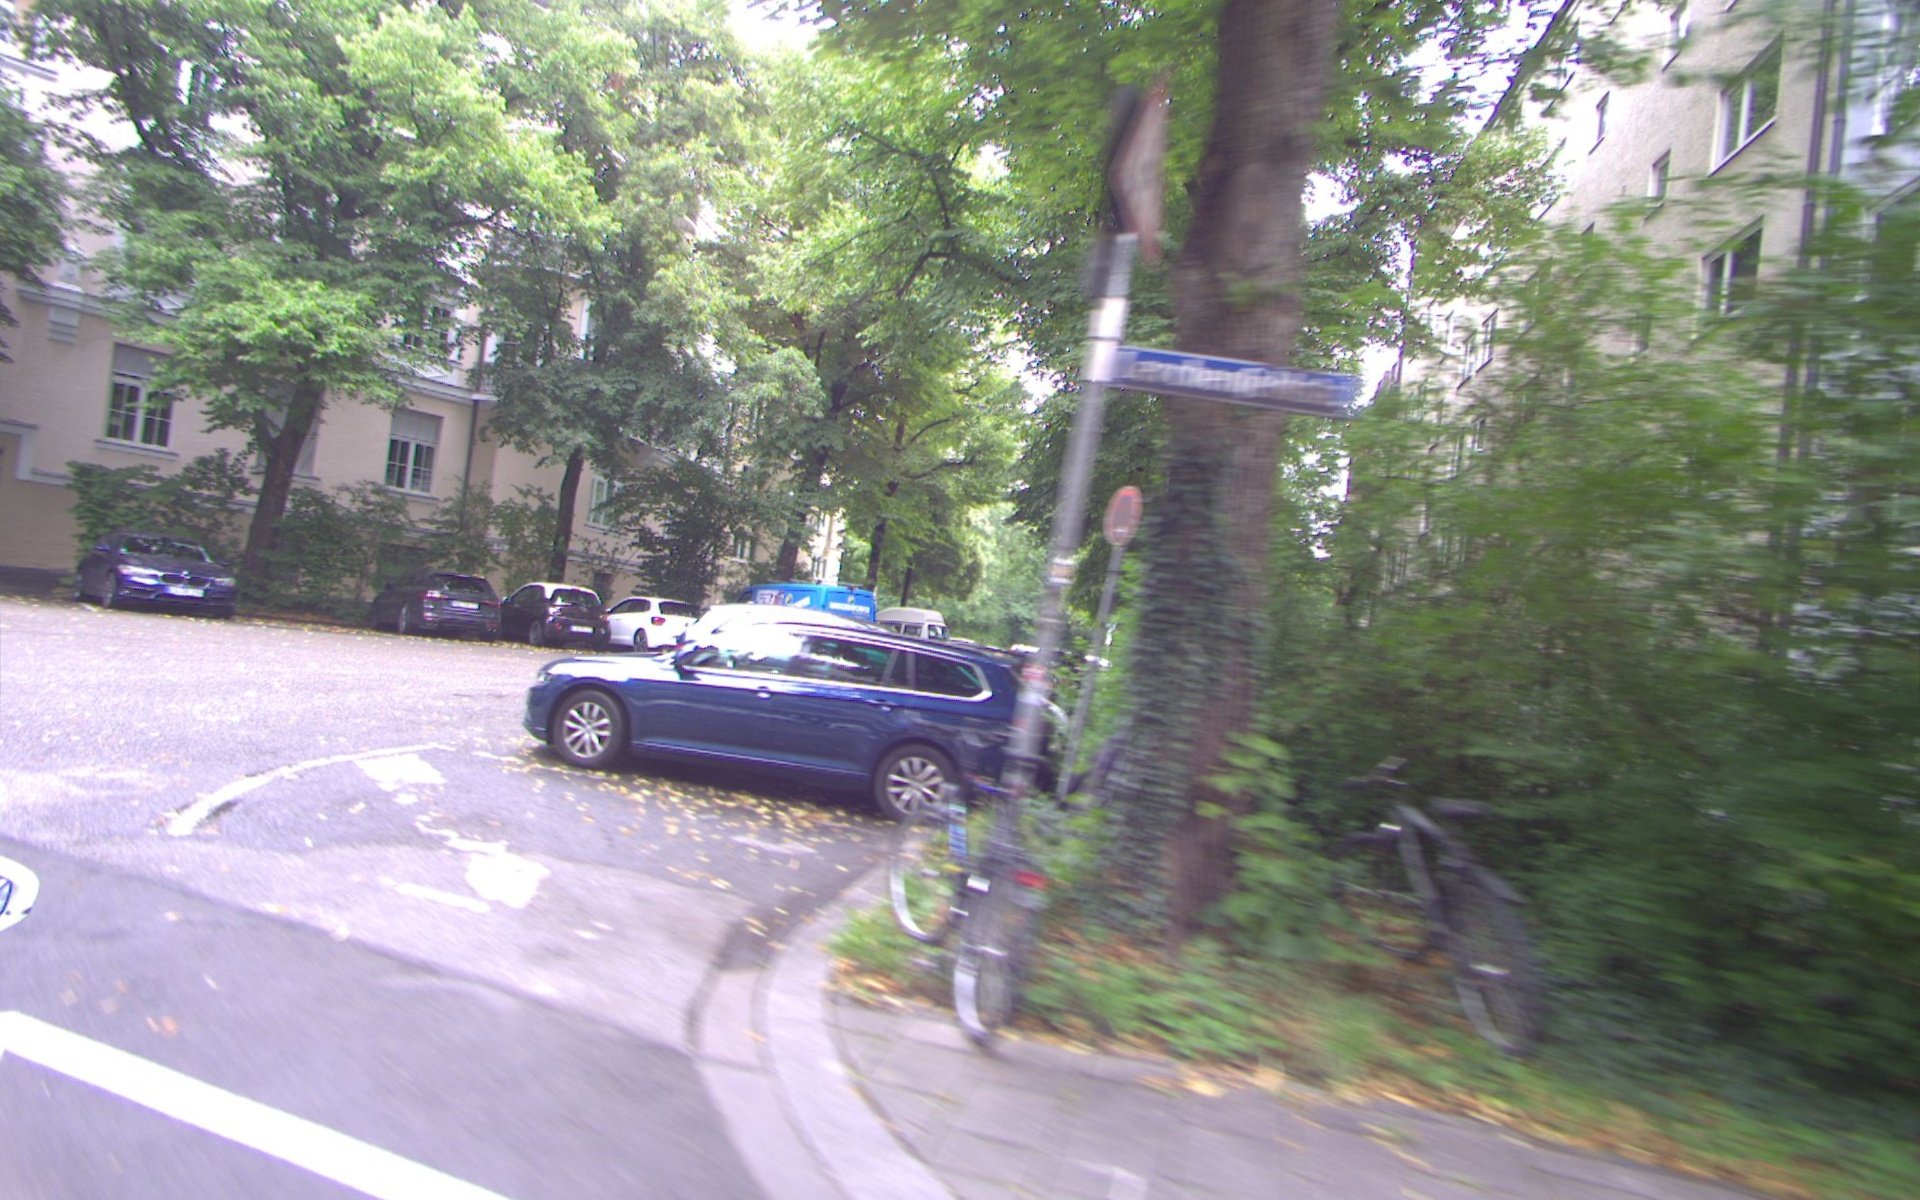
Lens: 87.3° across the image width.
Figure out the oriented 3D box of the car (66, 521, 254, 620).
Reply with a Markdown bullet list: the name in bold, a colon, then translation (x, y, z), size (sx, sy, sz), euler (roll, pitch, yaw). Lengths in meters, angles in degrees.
- **car**: translation (-14.575, -0.576, 18.242), size (4.283, 1.399, 1.837), euler (4, -3, 41)

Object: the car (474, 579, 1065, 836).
- **car**: translation (-1.484, 0.862, 8.912), size (4.643, 1.393, 1.962), euler (7, -2, 7)

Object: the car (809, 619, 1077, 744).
- **car**: translation (-0.224, 1.300, 16.441), size (4.019, 1.410, 1.736), euler (7, -2, 3)

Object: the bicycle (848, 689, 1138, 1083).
- **bicycle**: translation (0.031, 1.059, 4.268), size (0.546, 1.151, 1.767), euler (7, -1, -17)

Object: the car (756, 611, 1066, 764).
- **car**: translation (-0.573, 1.158, 13.878), size (3.873, 1.464, 1.829), euler (7, -2, 8)

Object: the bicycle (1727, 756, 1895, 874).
- **bicycle**: translation (9.933, 2.472, 11.831), size (0.641, 1.035, 1.704), euler (7, -2, 10)

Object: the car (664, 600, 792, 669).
- **car**: translation (-6.153, 0.875, 26.470), size (1.634, 1.448, 3.513), euler (9, -4, -42)

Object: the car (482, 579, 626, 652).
- **car**: translation (-9.635, 0.380, 23.753), size (1.822, 1.441, 3.708), euler (8, -6, -43)

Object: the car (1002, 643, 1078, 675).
- **car**: translation (5.469, 4.034, 68.352), size (4.726, 1.513, 1.844), euler (7, -1, 17)

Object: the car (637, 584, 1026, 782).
- **car**: translation (-1.374, 0.894, 11.509), size (3.908, 1.573, 1.758), euler (7, -2, 12)

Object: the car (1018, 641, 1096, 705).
- **car**: translation (3.123, 2.263, 31.597), size (1.802, 1.647, 4.531), euler (7, -2, 12)

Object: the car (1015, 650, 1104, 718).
- **car**: translation (2.711, 2.166, 26.485), size (1.868, 1.429, 4.436), euler (6, -3, 11)

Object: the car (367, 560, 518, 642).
- **car**: translation (-11.177, 0.014, 21.593), size (1.851, 1.441, 4.118), euler (8, -4, -41)

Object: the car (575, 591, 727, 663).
- **car**: translation (-7.804, 0.663, 25.195), size (1.793, 1.529, 4.236), euler (8, -6, -44)

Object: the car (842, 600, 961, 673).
- **car**: translation (-2.323, 1.423, 39.521), size (4.166, 2.262, 1.929), euler (6, -2, 36)

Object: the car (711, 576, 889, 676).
- **car**: translation (-4.602, 0.662, 28.225), size (2.053, 2.380, 5.432), euler (9, -5, -43)

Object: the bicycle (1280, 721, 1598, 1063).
- **bicycle**: translation (2.043, 1.183, 4.564), size (0.594, 1.068, 1.636), euler (7, -2, 2)
